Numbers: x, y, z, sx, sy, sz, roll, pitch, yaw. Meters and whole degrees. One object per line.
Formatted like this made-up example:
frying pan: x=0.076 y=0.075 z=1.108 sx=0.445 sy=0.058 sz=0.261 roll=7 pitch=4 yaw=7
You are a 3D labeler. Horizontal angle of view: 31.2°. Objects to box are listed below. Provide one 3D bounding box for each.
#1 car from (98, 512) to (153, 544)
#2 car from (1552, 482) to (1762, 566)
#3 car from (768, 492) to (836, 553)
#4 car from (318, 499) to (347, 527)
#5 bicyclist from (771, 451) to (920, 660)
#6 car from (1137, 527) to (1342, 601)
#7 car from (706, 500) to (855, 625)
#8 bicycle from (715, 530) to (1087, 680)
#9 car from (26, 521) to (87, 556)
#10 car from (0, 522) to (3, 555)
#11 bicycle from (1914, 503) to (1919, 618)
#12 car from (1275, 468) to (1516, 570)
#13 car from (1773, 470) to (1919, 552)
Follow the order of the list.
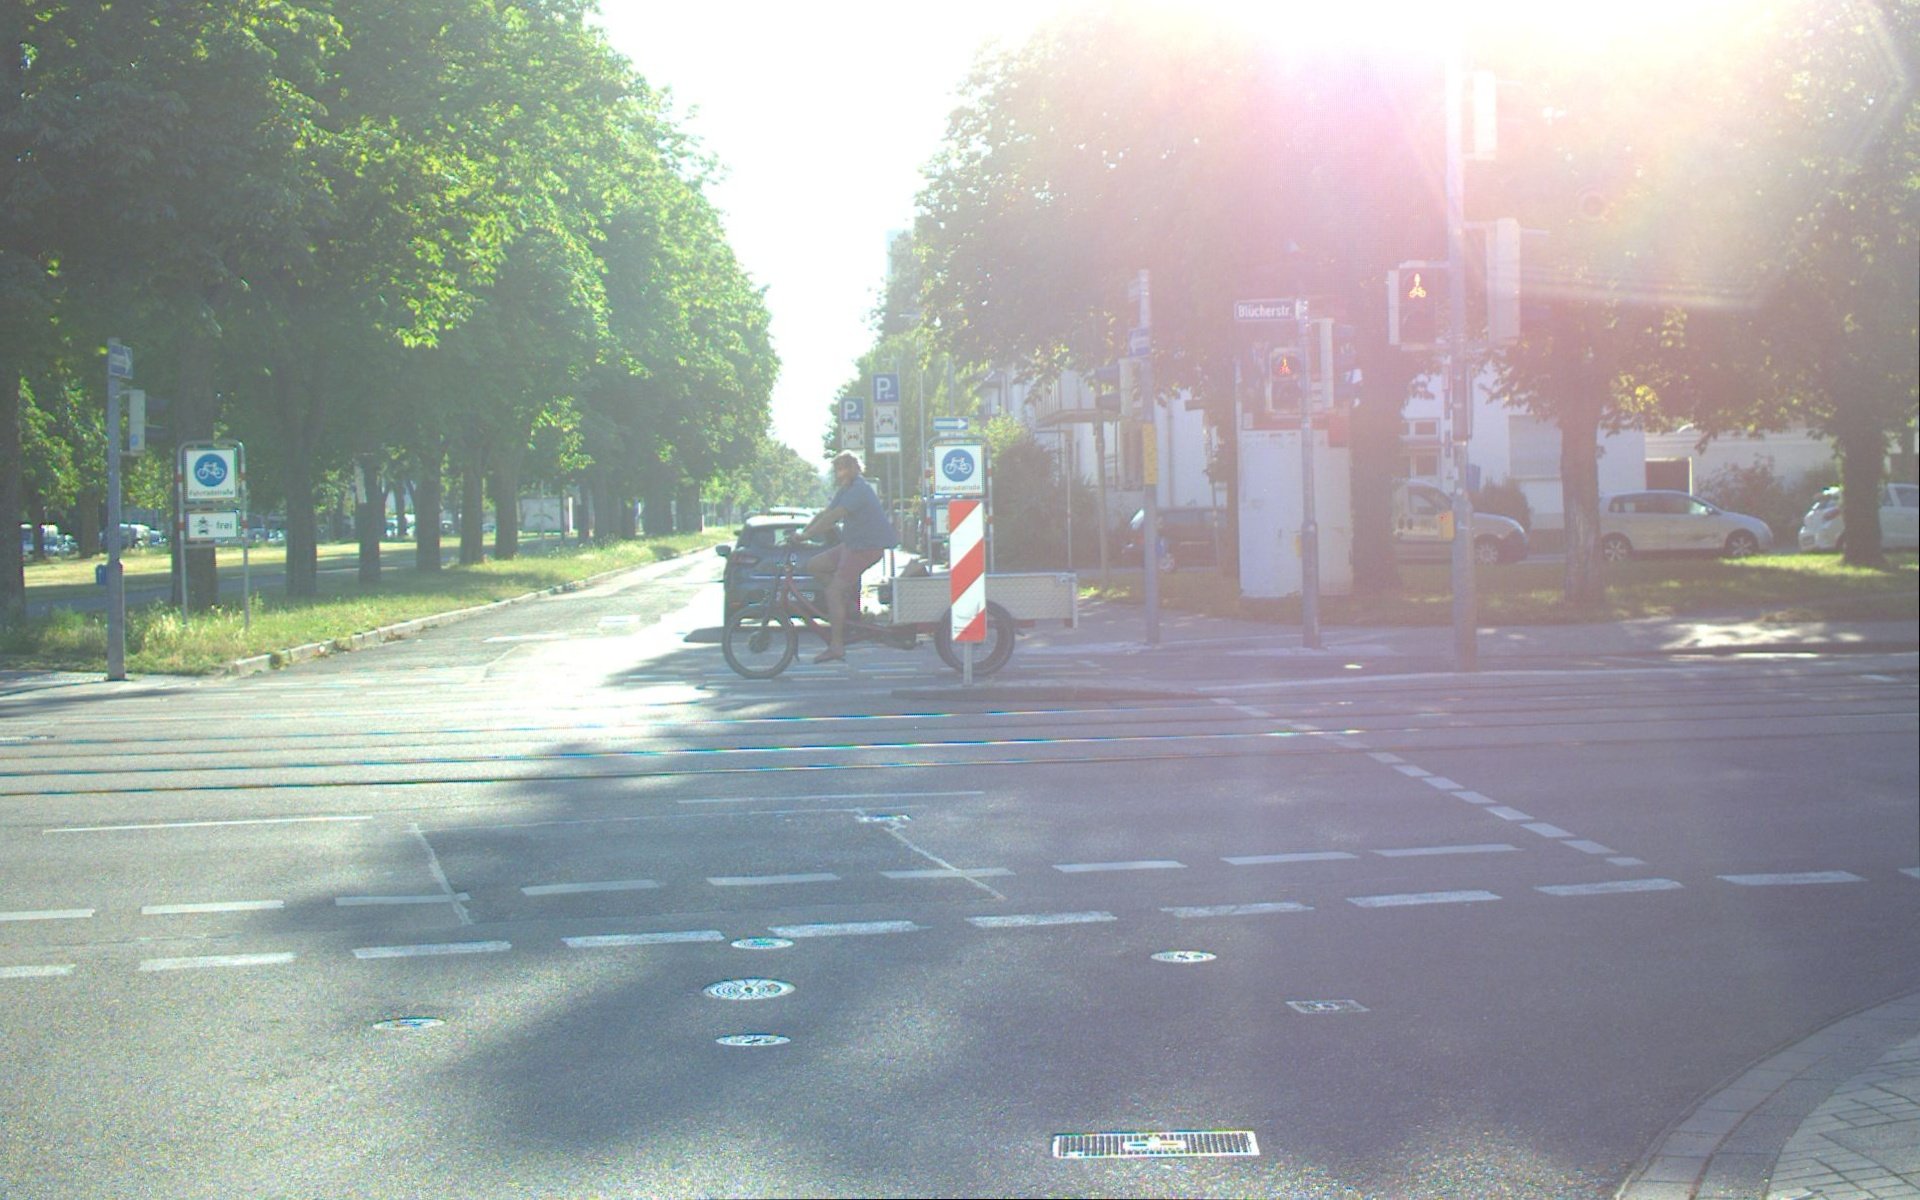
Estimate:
car: x=-45.370 y=-3.913 z=187.014 sx=1.993 sy=1.653 sz=4.571 roll=-1 pitch=2 yaw=-3
car: x=13.221 y=-1.435 z=65.309 sx=3.552 sy=1.510 sz=1.606 roll=-1 pitch=1 yaw=-8
car: x=-4.791 y=-2.356 z=103.723 sx=1.993 sy=1.775 sz=4.001 roll=1 pitch=2 yaw=-3
car: x=-46.360 y=-6.441 z=253.923 sx=1.654 sy=1.932 sz=3.568 roll=1 pitch=-1 yaw=-3
bicyclist: x=-0.966 y=-0.376 z=29.224 sx=1.145 sy=1.717 sz=0.875 roll=-2 pitch=0 yaw=3
car: x=5.717 y=-0.743 z=70.610 sx=3.986 sy=1.442 sz=1.716 roll=-1 pitch=1 yaw=-2
car: x=-2.279 y=-0.485 z=44.579 sx=1.725 sy=1.506 sz=4.541 roll=1 pitch=1 yaw=-1
bicycle: x=-0.482 y=0.034 z=29.206 sx=3.073 sy=1.157 sz=0.875 roll=-2 pitch=1 yaw=3
car: x=-44.024 y=-2.997 z=167.536 sx=2.022 sy=1.653 sz=3.984 roll=1 pitch=1 yaw=-2
car: x=-49.656 y=-3.118 z=172.666 sx=1.993 sy=1.653 sz=4.355 roll=1 pitch=1 yaw=-1
bicycle: x=9.950 y=-0.394 z=32.907 sx=1.522 sy=1.085 sz=0.467 roll=-1 pitch=5 yaw=8
car: x=8.265 y=-1.532 z=65.499 sx=4.241 sy=1.868 sz=2.031 roll=-1 pitch=1 yaw=-2
car: x=17.769 y=-1.705 z=65.961 sx=3.920 sy=1.518 sz=1.524 roll=0 pitch=0 yaw=-7
